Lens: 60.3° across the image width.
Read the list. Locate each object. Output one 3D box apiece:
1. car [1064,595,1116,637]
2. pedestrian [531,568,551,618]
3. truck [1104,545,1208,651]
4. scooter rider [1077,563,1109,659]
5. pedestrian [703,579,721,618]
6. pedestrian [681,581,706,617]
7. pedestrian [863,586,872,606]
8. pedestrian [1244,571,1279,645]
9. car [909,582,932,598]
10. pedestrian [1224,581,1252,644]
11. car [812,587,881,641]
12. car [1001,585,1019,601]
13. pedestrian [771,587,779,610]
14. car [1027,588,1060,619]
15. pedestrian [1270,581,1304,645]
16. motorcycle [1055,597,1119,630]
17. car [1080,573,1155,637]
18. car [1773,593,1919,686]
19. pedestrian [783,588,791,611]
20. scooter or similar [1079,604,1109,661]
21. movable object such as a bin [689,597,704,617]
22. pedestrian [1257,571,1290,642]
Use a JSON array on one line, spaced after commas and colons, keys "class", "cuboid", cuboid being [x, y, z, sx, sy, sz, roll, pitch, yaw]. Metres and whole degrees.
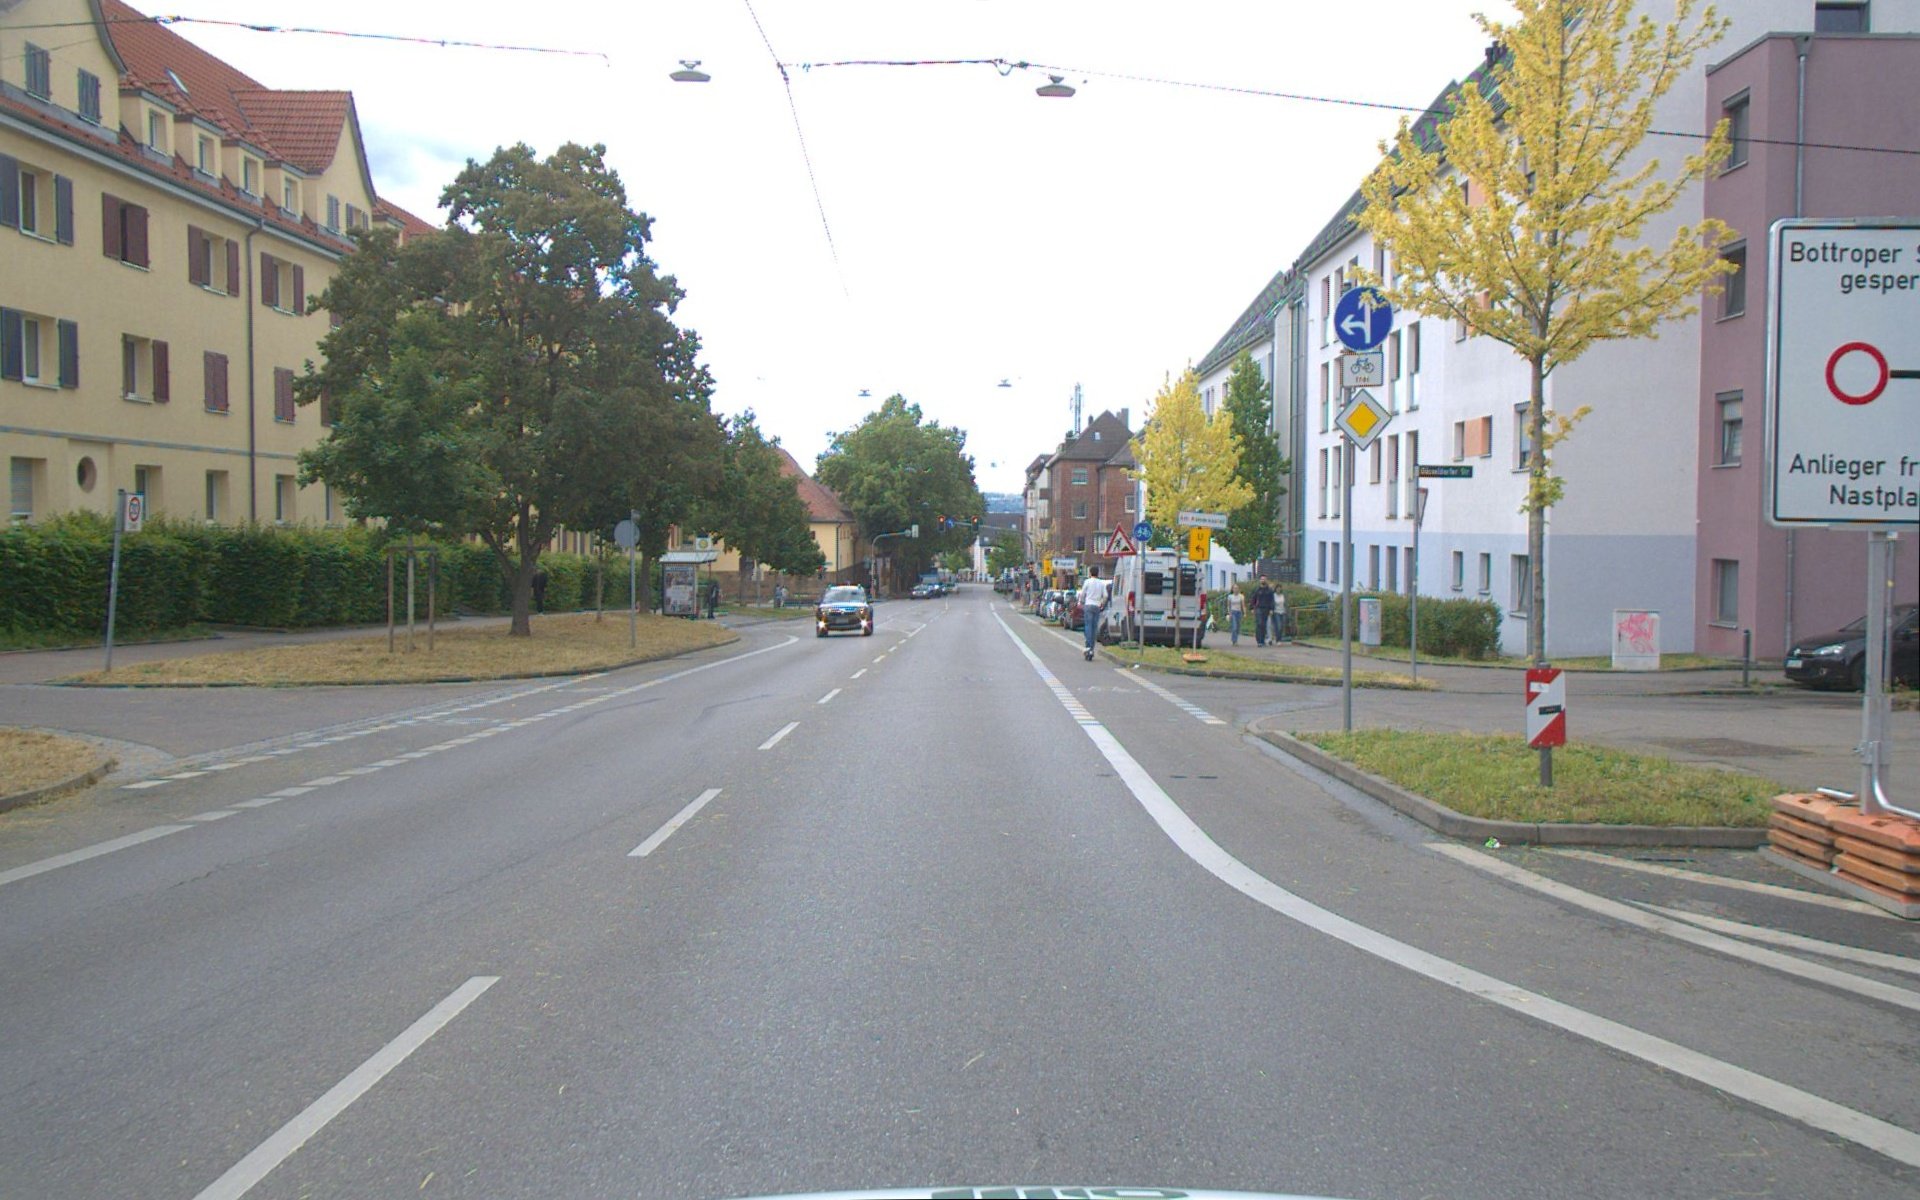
[{"class": "car", "cuboid": [5.129, 0.615, 65.499, 1.646, 1.571, 4.338, 1, 0, -1]}, {"class": "pedestrian", "cuboid": [-15.153, -0.257, 59.858, 0.503, 1.811, 0.753, 1, 0, 0]}, {"class": "truck", "cuboid": [5.096, -0.080, 43.735, 2.010, 2.610, 5.689, 1, 0, -1]}, {"class": "scooter rider", "cuboid": [2.881, 0.231, 35.981, 0.612, 2.049, 0.757, 1, 0, -1]}, {"class": "pedestrian", "cuboid": [-11.202, -0.059, 74.698, 0.585, 1.757, 0.861, 1, 0, 3]}, {"class": "pedestrian", "cuboid": [-11.675, -0.047, 72.454, 0.881, 1.536, 0.806, 2, 0, 1]}, {"class": "pedestrian", "cuboid": [-8.365, -0.381, 149.298, 0.660, 1.796, 0.726, 0, 0, 4]}, {"class": "pedestrian", "cuboid": [7.927, 0.207, 43.492, 0.658, 1.920, 0.764, 0, -1, -12]}, {"class": "car", "cuboid": [-3.639, -0.934, 152.465, 1.719, 1.498, 4.308, -1, 1, 4]}, {"class": "pedestrian", "cuboid": [7.460, 0.341, 44.430, 0.566, 1.673, 0.559, 0, -1, -14]}, {"class": "car", "cuboid": [-3.673, 0.428, 54.343, 1.860, 1.648, 4.362, 1, 1, 1]}, {"class": "car", "cuboid": [6.340, -0.881, 211.057, 1.953, 1.969, 4.917, 1, 1, -2]}, {"class": "pedestrian", "cuboid": [-14.252, -0.112, 127.410, 0.552, 1.808, 0.842, 1, 0, 0]}, {"class": "car", "cuboid": [4.900, 0.187, 97.476, 1.625, 1.745, 4.551, 2, 0, -1]}, {"class": "pedestrian", "cuboid": [8.647, 0.349, 43.742, 0.645, 1.633, 0.574, -4, 1, -9]}, {"class": "motorcycle", "cuboid": [5.265, 0.556, 68.472, 2.546, 1.301, 0.752, 1, 0, -4]}, {"class": "car", "cuboid": [5.098, 0.142, 54.186, 1.953, 1.978, 5.211, 1, 1, 0]}, {"class": "car", "cuboid": [15.987, 0.646, 27.653, 3.904, 1.481, 1.760, 1, 0, 2]}, {"class": "pedestrian", "cuboid": [-13.268, -0.034, 127.050, 0.552, 1.808, 0.717, 1, 0, 0]}, {"class": "scooter or similar", "cuboid": [2.901, 0.685, 35.959, 0.480, 1.183, 2.074, 1, 0, 0]}, {"class": "movable object such as a bin", "cuboid": [-11.535, 0.308, 72.335, 0.525, 0.860, 0.665, 2, 0, 1]}, {"class": "pedestrian", "cuboid": [8.498, 0.183, 44.856, 0.659, 1.920, 0.617, 0, -1, -17]}]
